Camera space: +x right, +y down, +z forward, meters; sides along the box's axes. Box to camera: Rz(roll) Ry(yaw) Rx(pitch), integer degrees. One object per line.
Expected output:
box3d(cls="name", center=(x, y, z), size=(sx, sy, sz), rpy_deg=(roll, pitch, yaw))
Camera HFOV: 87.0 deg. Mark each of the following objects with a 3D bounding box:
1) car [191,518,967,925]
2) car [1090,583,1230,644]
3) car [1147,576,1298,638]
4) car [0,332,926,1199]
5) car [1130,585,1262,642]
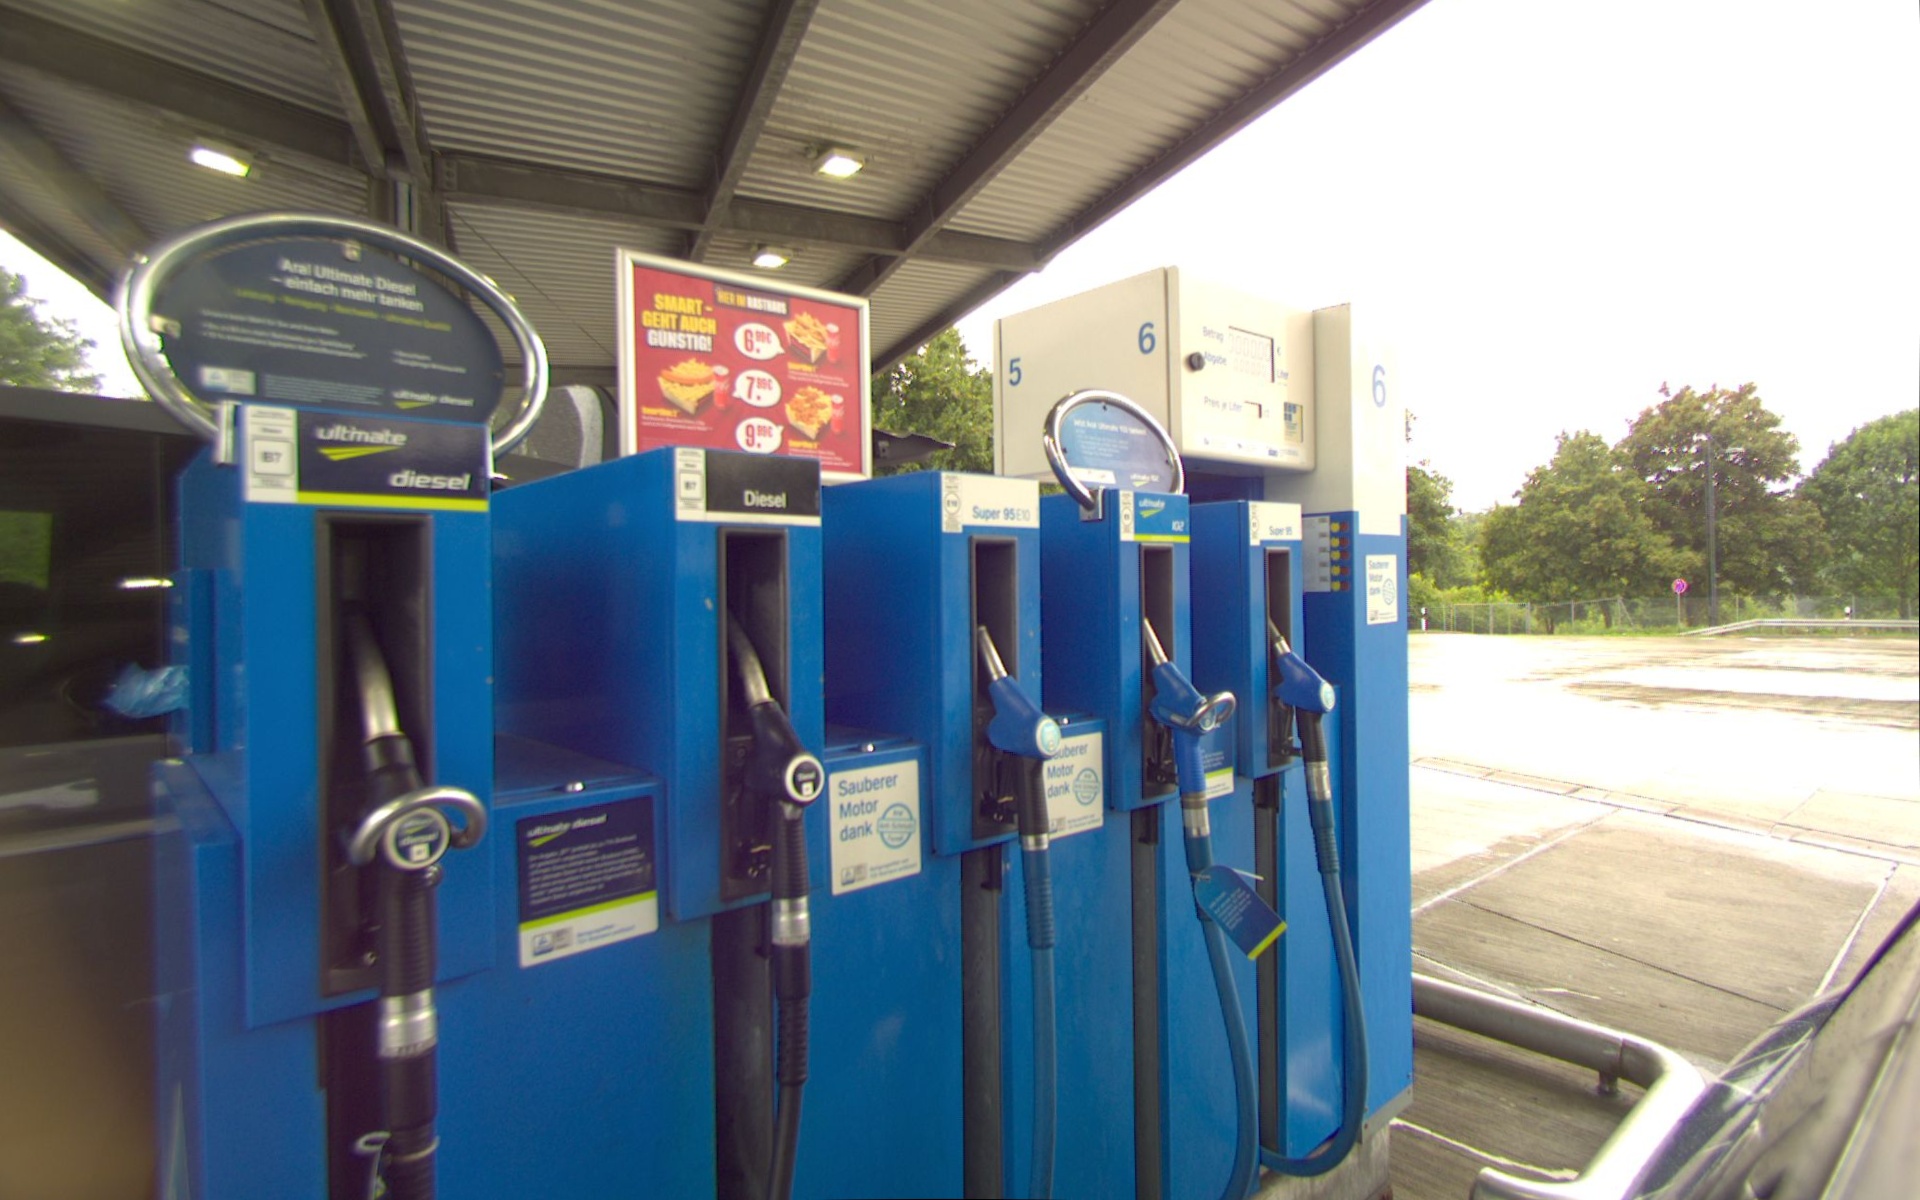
box3d(cls="car", center=(-2.238, 0.518, 6.706), size=(4.460, 1.821, 1.864), rpy_deg=(-1, 0, -41))
box3d(cls="car", center=(5.870, 0.376, 29.732), size=(3.941, 1.680, 1.593), rpy_deg=(1, 0, 14))
box3d(cls="car", center=(8.886, 0.209, 34.505), size=(4.817, 1.974, 2.306), rpy_deg=(1, 1, 14))
box3d(cls="car", center=(-2.602, 0.501, 1.819), size=(5.050, 1.821, 1.864), rpy_deg=(-1, 0, -41))
box3d(cls="car", center=(7.424, 0.388, 31.922), size=(3.941, 1.680, 1.593), rpy_deg=(1, 0, 14))
